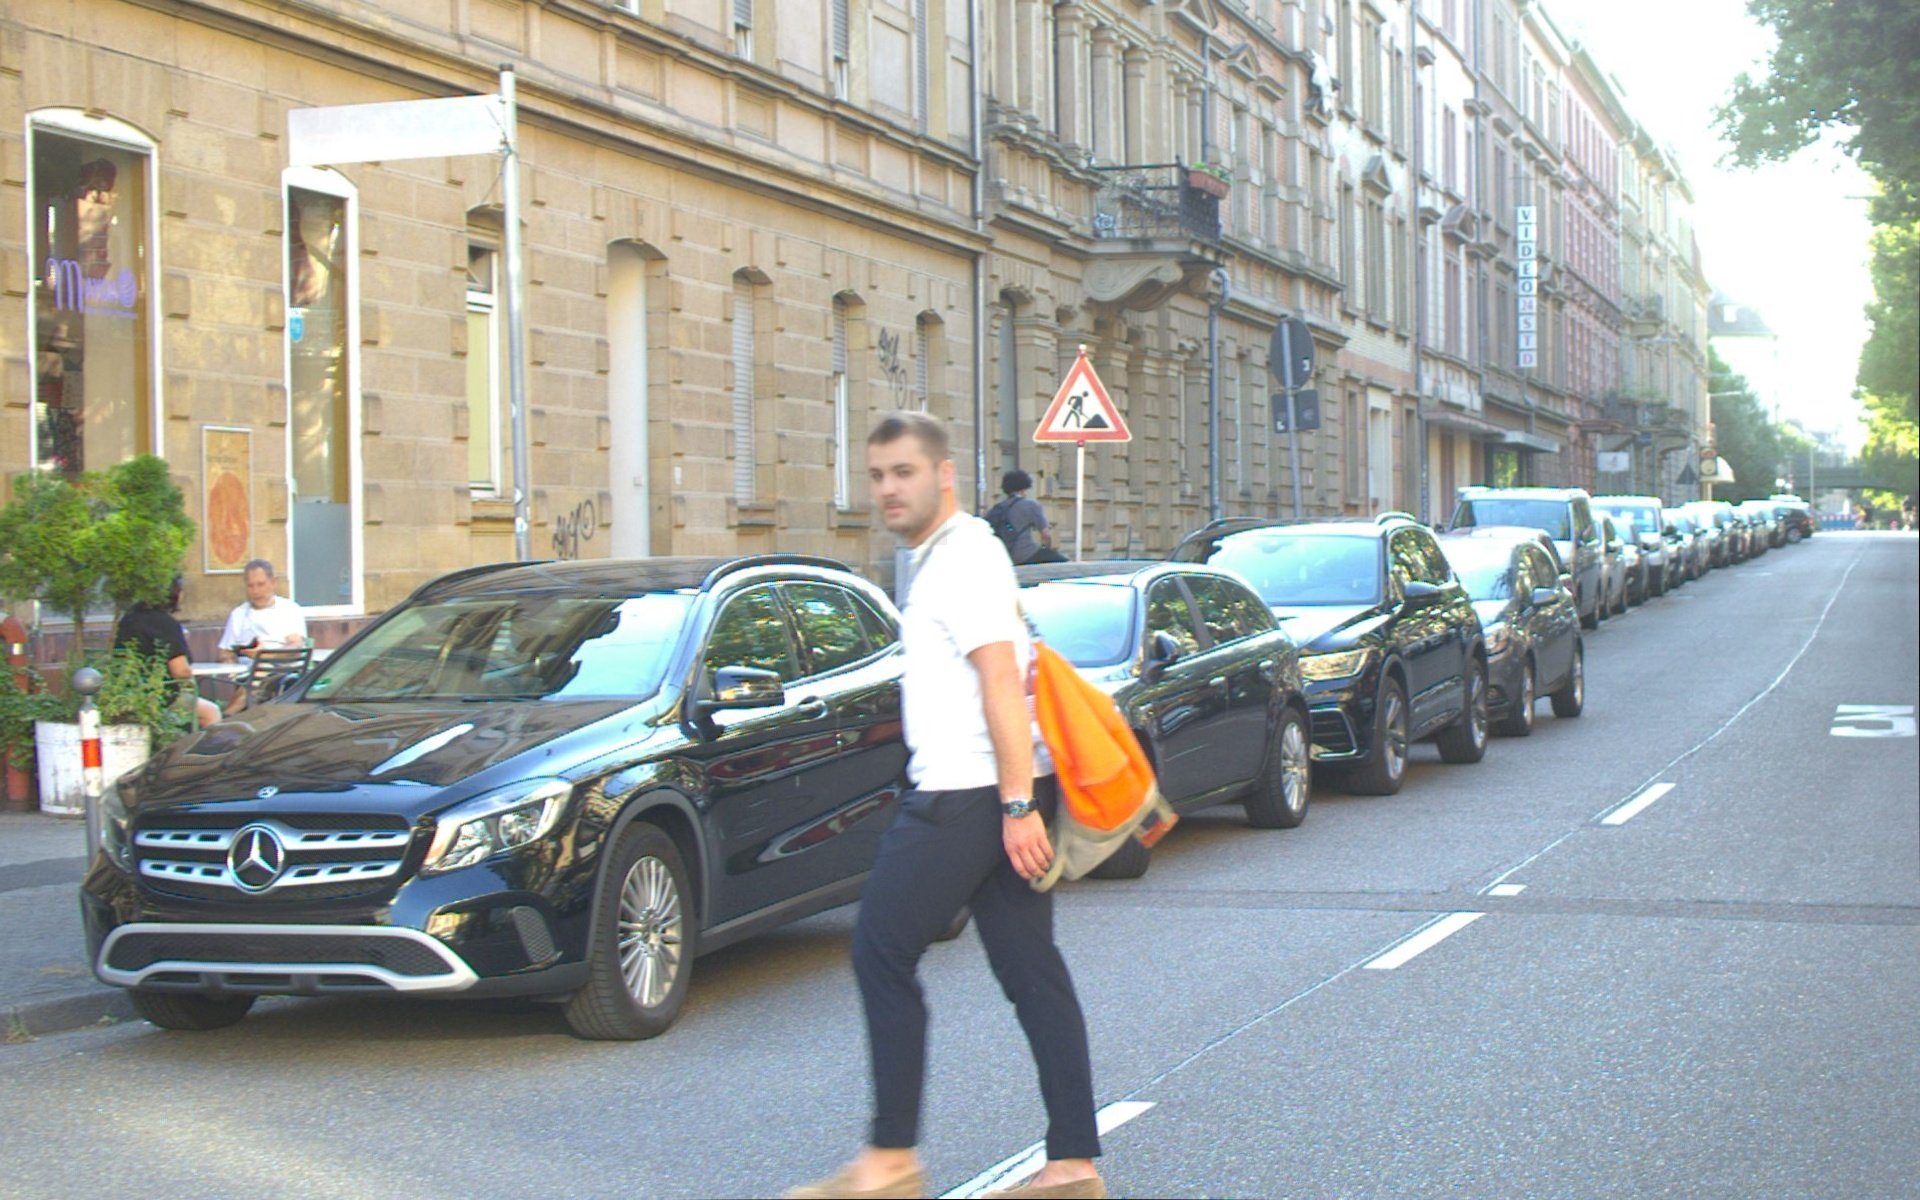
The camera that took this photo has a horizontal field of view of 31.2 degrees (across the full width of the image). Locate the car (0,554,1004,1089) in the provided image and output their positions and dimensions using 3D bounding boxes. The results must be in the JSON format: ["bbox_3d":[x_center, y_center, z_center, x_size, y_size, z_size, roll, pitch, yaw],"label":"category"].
[{"bbox_3d":[-1.365,0.624,11.992,1.760,1.482,4.135,-2,1,20],"label":"car"}]

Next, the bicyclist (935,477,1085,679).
[{"bbox_3d":[0.470,-0.212,31.568,0.996,1.783,1.206,-2,2,18],"label":"bicyclist"}]

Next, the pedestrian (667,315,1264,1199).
[{"bbox_3d":[0.037,0.367,7.514,1.115,1.892,0.842,-1,1,14],"label":"pedestrian"}]

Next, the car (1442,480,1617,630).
[{"bbox_3d":[7.914,-0.670,47.436,1.833,1.936,5.257,1,2,15],"label":"car"}]

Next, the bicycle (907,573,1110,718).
[{"bbox_3d":[0.486,0.390,31.574,0.996,1.154,2.921,-2,2,18],"label":"bicycle"}]

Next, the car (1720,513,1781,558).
[{"bbox_3d":[27.970,-2.267,121.601,1.995,1.481,3.997,-1,0,14],"label":"car"}]

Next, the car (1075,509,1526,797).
[{"bbox_3d":[2.285,0.262,21.833,1.760,1.594,4.546,-2,1,20],"label":"car"}]

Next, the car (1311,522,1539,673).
[{"bbox_3d":[5.138,-0.063,37.579,1.760,1.496,4.056,-2,1,18],"label":"car"}]

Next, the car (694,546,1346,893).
[{"bbox_3d":[0.469,0.494,17.044,1.760,1.447,4.546,-1,1,21],"label":"car"}]

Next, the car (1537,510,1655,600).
[{"bbox_3d":[11.034,-0.806,59.499,1.759,1.462,3.998,1,2,14],"label":"car"}]

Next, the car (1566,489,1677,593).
[{"bbox_3d":[12.362,-1.128,64.040,1.759,1.835,4.527,-1,1,14],"label":"car"}]

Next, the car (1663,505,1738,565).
[{"bbox_3d":[19.431,-1.722,90.115,1.759,1.468,4.057,-1,1,14],"label":"car"}]

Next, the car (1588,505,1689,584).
[{"bbox_3d":[13.630,-1.131,68.929,1.759,1.468,4.057,-1,1,14],"label":"car"}]

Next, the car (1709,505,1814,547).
[{"bbox_3d":[30.688,-2.820,131.556,3.989,1.481,1.999,-1,-1,-42],"label":"car"}]

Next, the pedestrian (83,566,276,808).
[{"bbox_3d":[-4.157,0.454,18.342,0.726,1.254,0.756,-1,1,13],"label":"pedestrian"}]

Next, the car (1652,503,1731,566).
[{"bbox_3d":[18.216,-1.654,85.511,1.759,1.468,4.057,-1,1,14],"label":"car"}]

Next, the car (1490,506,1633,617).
[{"bbox_3d":[9.325,-0.630,53.073,1.755,1.603,4.381,1,2,15],"label":"car"}]

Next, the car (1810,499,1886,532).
[{"bbox_3d":[50.990,-4.869,197.440,3.992,1.853,1.749,0,2,24],"label":"car"}]

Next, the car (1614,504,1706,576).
[{"bbox_3d":[15.253,-1.317,74.804,1.759,1.468,4.057,-1,1,14],"label":"car"}]

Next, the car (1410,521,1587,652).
[{"bbox_3d":[6.604,-0.203,41.907,1.594,1.470,3.696,1,2,17],"label":"car"}]

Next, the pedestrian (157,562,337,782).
[{"bbox_3d":[-4.039,0.399,19.505,0.726,1.209,0.756,-1,1,13],"label":"pedestrian"}]

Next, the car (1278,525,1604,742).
[{"bbox_3d":[3.817,0.210,26.726,1.760,1.496,4.056,-2,1,19],"label":"car"}]
